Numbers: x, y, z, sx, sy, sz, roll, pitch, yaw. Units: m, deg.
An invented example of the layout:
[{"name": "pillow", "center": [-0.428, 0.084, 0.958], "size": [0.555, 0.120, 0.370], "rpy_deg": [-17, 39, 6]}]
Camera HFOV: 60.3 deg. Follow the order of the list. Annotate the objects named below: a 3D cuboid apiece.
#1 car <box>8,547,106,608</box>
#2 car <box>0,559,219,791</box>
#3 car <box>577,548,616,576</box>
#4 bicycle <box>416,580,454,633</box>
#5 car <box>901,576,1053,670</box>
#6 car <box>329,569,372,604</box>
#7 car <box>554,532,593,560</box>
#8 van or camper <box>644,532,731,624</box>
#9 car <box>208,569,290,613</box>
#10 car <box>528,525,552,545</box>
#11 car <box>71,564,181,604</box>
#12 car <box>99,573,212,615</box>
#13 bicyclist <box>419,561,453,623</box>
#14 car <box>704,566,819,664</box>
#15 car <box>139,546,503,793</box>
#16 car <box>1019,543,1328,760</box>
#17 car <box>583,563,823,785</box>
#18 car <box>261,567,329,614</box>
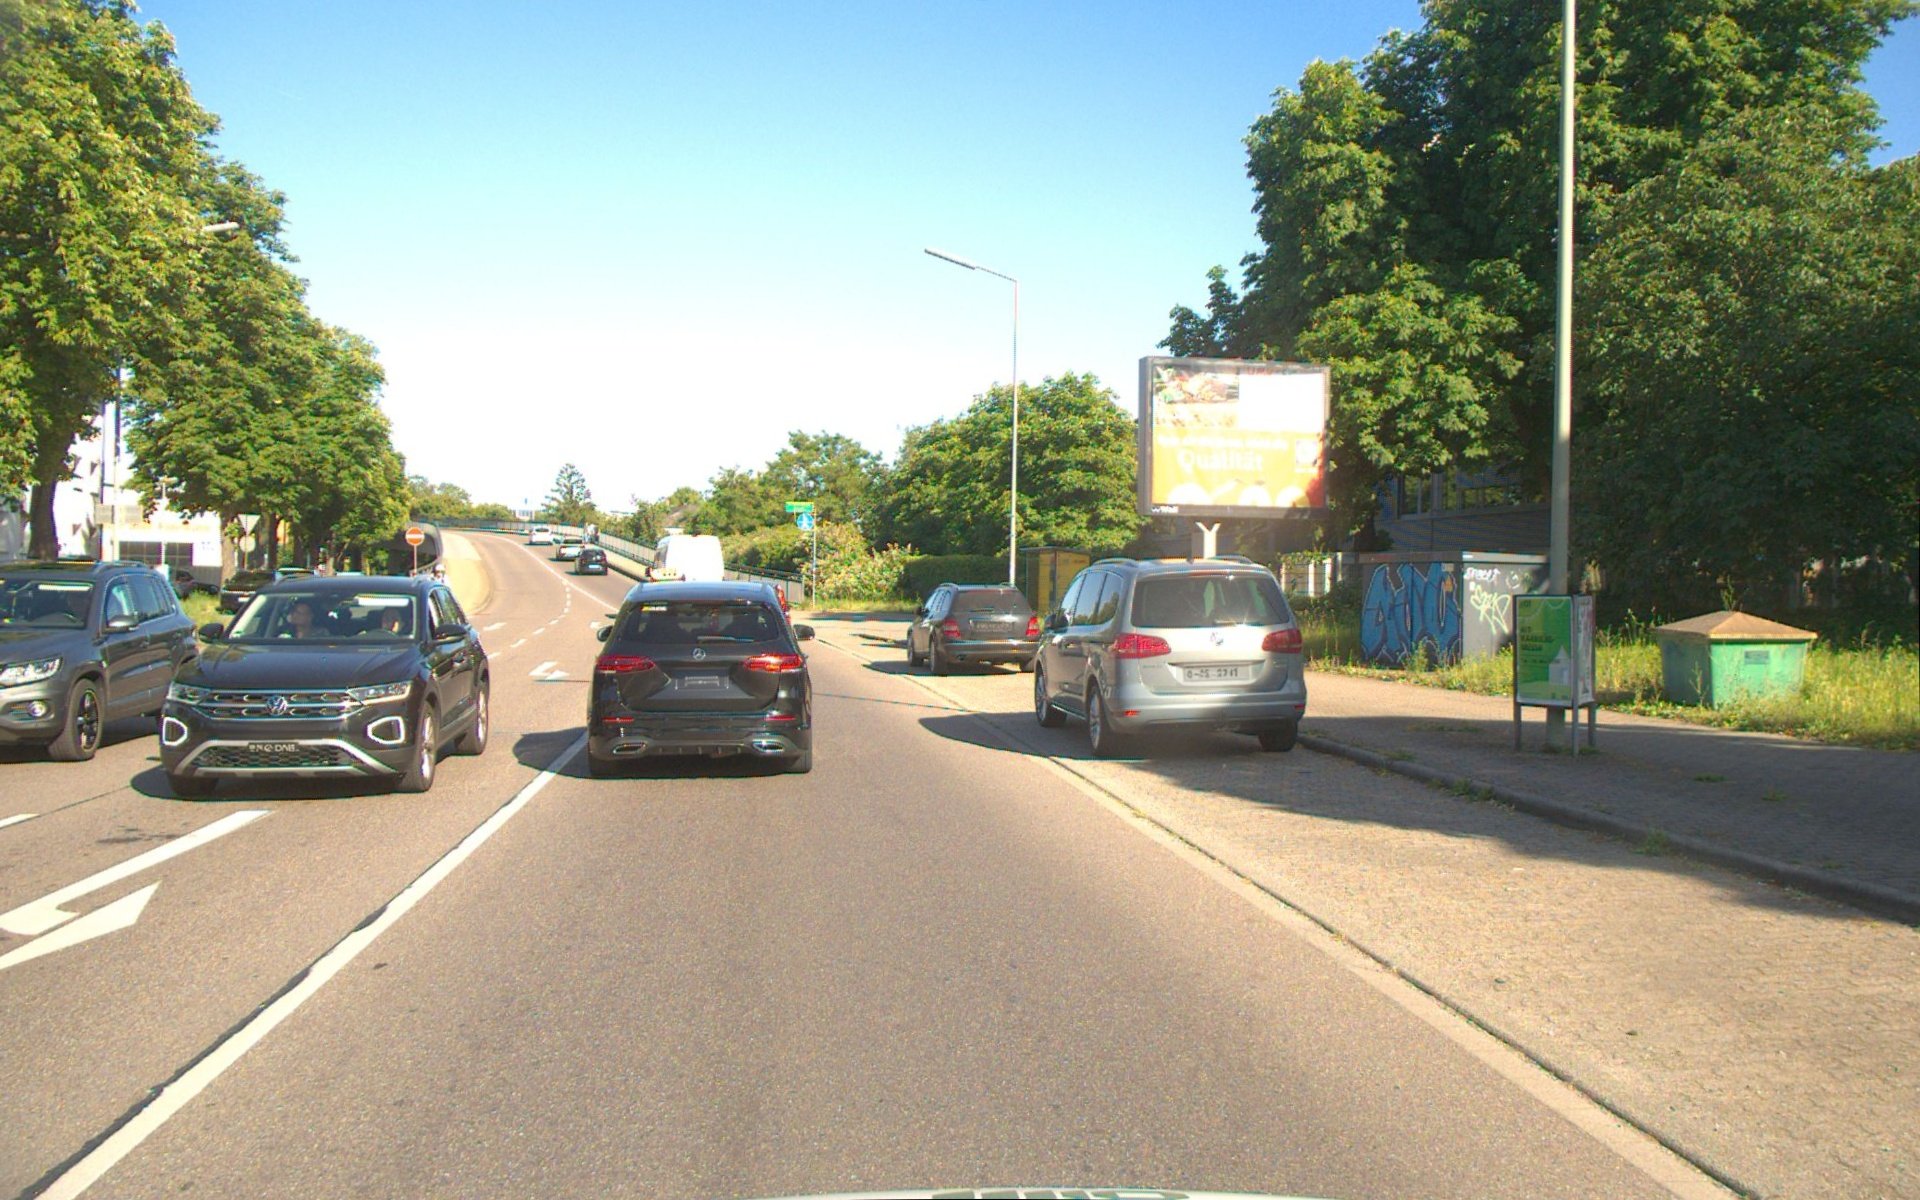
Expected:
[{"name": "car", "center": [-30.511, -0.762, 56.005], "size": [1.718, 1.964, 5.083], "rpy_deg": [1, 1, -15]}, {"name": "car", "center": [-8.232, 0.541, 14.894], "size": [1.818, 1.766, 4.261], "rpy_deg": [1, 1, -10]}, {"name": "car", "center": [-20.751, -2.154, 94.504], "size": [1.883, 1.514, 4.261], "rpy_deg": [0, 0, -9]}, {"name": "bicycle", "center": [-13.033, 0.143, 41.122], "size": [0.780, 1.247, 3.200], "rpy_deg": [1, 1, -16]}, {"name": "car", "center": [0.202, 0.328, 28.096], "size": [1.776, 1.444, 4.413], "rpy_deg": [0, 1, -10]}, {"name": "car", "center": [-37.060, -0.845, 100.687], "size": [1.890, 2.025, 4.243], "rpy_deg": [1, 1, -13]}, {"name": "car", "center": [-25.362, -3.525, 108.559], "size": [1.955, 1.709, 3.995], "rpy_deg": [-1, 0, -6]}, {"name": "van or camper", "center": [-9.034, -0.768, 54.292], "size": [2.189, 2.786, 7.054], "rpy_deg": [1, 1, -14]}, {"name": "car", "center": [-25.217, -0.350, 58.844], "size": [2.004, 1.489, 4.941], "rpy_deg": [1, 1, -16]}, {"name": "car", "center": [-34.001, -5.262, 134.030], "size": [1.845, 1.570, 3.986], "rpy_deg": [1, 1, -14]}, {"name": "car", "center": [-33.526, -0.651, 66.506], "size": [3.640, 1.536, 1.757], "rpy_deg": [0, 2, -43]}, {"name": "car", "center": [-33.697, -0.265, 69.279], "size": [3.959, 1.625, 1.974], "rpy_deg": [-1, 3, -38]}, {"name": "bicyclist", "center": [-13.070, -0.200, 41.275], "size": [0.760, 1.510, 0.822], "rpy_deg": [1, 1, -16]}, {"name": "car", "center": [-3.588, 0.248, 30.438], "size": [1.768, 1.668, 3.998], "rpy_deg": [1, 0, -2]}, {"name": "car", "center": [-4.795, 0.443, 13.015], "size": [1.878, 1.627, 3.991], "rpy_deg": [0, 1, -10]}, {"name": "car", "center": [1.878, 0.397, 16.079], "size": [1.837, 1.752, 4.605], "rpy_deg": [-1, 1, -8]}, {"name": "car", "center": [-2.075, 0.540, 14.341], "size": [1.735, 1.620, 3.985], "rpy_deg": [1, 0, -5]}, {"name": "car", "center": [-26.786, -0.402, 66.746], "size": [2.005, 1.759, 5.213], "rpy_deg": [1, 1, -16]}]
